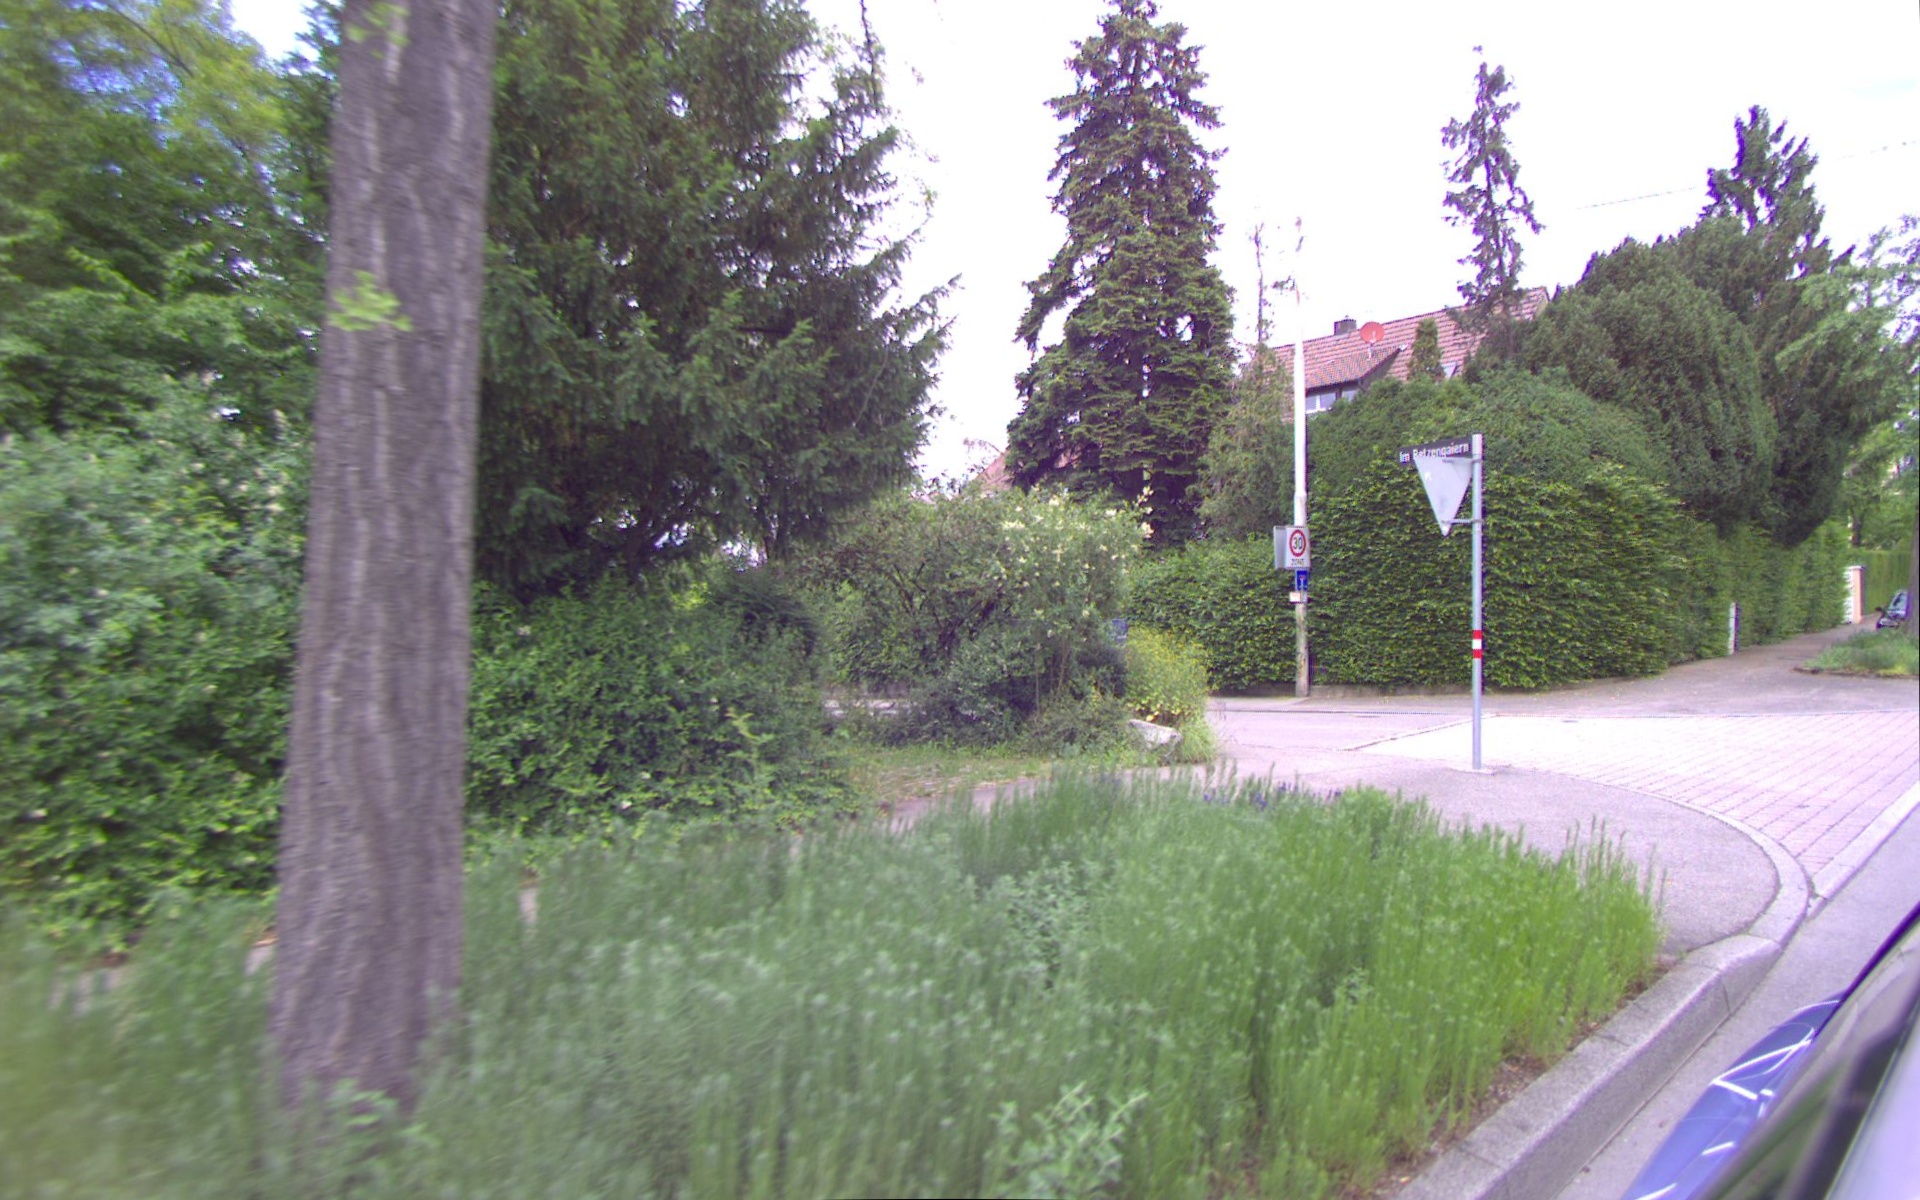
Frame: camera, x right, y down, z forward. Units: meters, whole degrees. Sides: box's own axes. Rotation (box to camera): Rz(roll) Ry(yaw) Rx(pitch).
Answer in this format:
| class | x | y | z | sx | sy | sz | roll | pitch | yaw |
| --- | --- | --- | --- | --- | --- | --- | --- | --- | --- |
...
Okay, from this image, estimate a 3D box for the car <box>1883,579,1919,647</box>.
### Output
| class | x | y | z | sx | sy | sz | roll | pitch | yaw |
| --- | --- | --- | --- | --- | --- | --- | --- | --- | --- |
| car | 23.098 | 0.267 | 23.799 | 3.675 | 1.491 | 1.626 | -2 | 0 | -41 |
